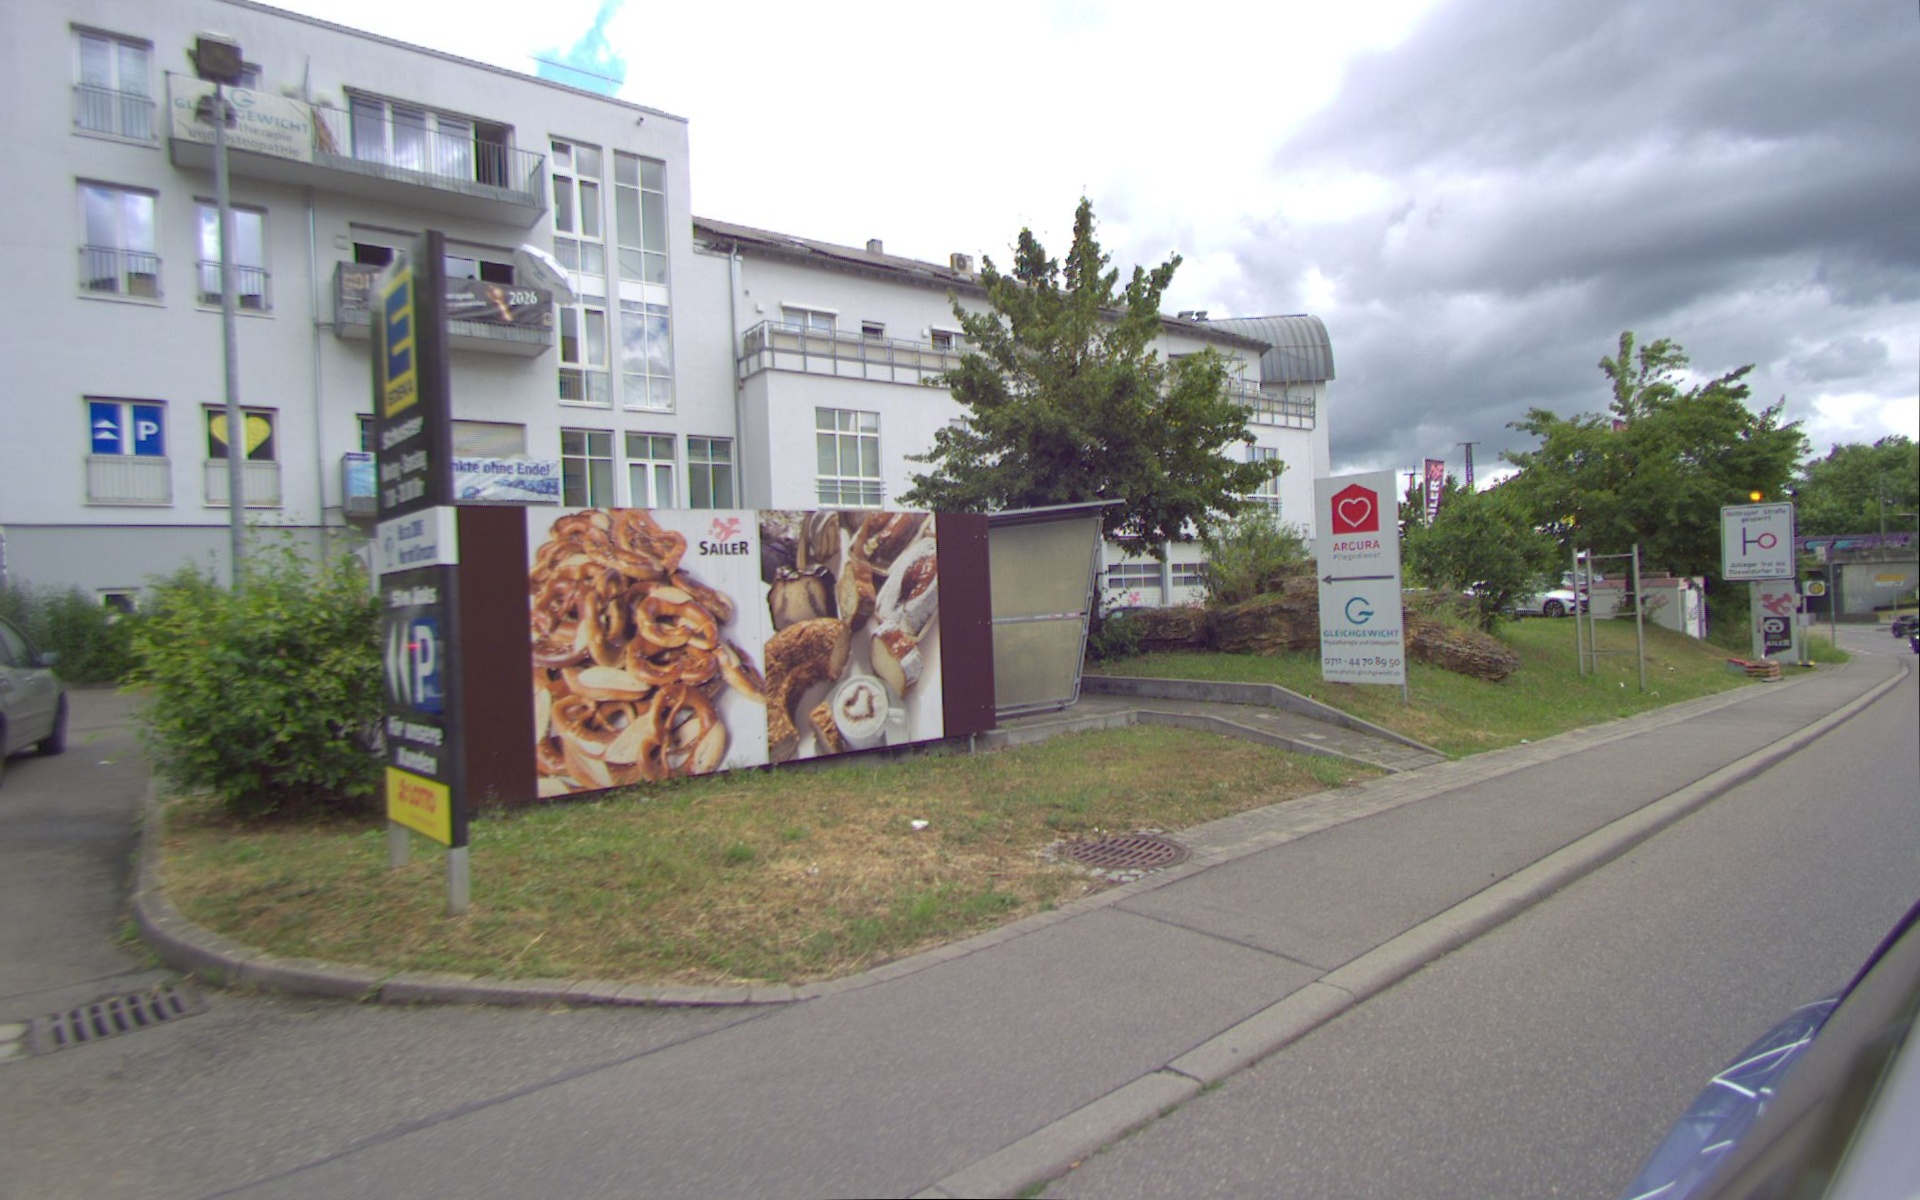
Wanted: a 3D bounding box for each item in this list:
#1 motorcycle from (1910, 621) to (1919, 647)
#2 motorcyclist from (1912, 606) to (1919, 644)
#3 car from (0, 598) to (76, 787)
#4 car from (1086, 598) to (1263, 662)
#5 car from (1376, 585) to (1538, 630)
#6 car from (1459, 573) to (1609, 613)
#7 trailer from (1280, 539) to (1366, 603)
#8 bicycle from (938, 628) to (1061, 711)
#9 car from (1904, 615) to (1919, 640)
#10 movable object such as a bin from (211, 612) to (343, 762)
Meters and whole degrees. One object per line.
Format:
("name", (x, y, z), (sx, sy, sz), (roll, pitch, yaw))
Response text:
("motorcycle", (43.360, 1.522, 45.251), (0.877, 1.118, 2.330), (-5, -3, 35))
("motorcyclist", (43.218, 1.093, 45.101), (0.878, 1.626, 1.227), (-5, -3, 37))
("car", (-9.707, 0.818, 9.323), (1.754, 1.613, 4.255), (-2, 1, -33))
("car", (5.124, 0.690, 24.557), (1.803, 1.370, 3.878), (-2, 0, -41))
("car", (15.237, 0.233, 31.170), (1.879, 1.248, 4.045), (-2, 0, -40))
("car", (22.044, -0.252, 39.036), (1.685, 1.398, 4.705), (-2, 0, -39))
("trailer", (20.393, -1.528, 57.318), (2.425, 3.095, 6.488), (-3, -2, 1))
("bicycle", (0.473, 0.776, 11.654), (1.454, 0.887, 0.492), (1, -2, -39))
("car", (61.629, 1.687, 63.364), (1.734, 1.553, 4.235), (-4, -2, 14))
("movable object such as a bin", (-7.153, 0.846, 10.584), (1.038, 1.431, 1.248), (0, -1, -39))
